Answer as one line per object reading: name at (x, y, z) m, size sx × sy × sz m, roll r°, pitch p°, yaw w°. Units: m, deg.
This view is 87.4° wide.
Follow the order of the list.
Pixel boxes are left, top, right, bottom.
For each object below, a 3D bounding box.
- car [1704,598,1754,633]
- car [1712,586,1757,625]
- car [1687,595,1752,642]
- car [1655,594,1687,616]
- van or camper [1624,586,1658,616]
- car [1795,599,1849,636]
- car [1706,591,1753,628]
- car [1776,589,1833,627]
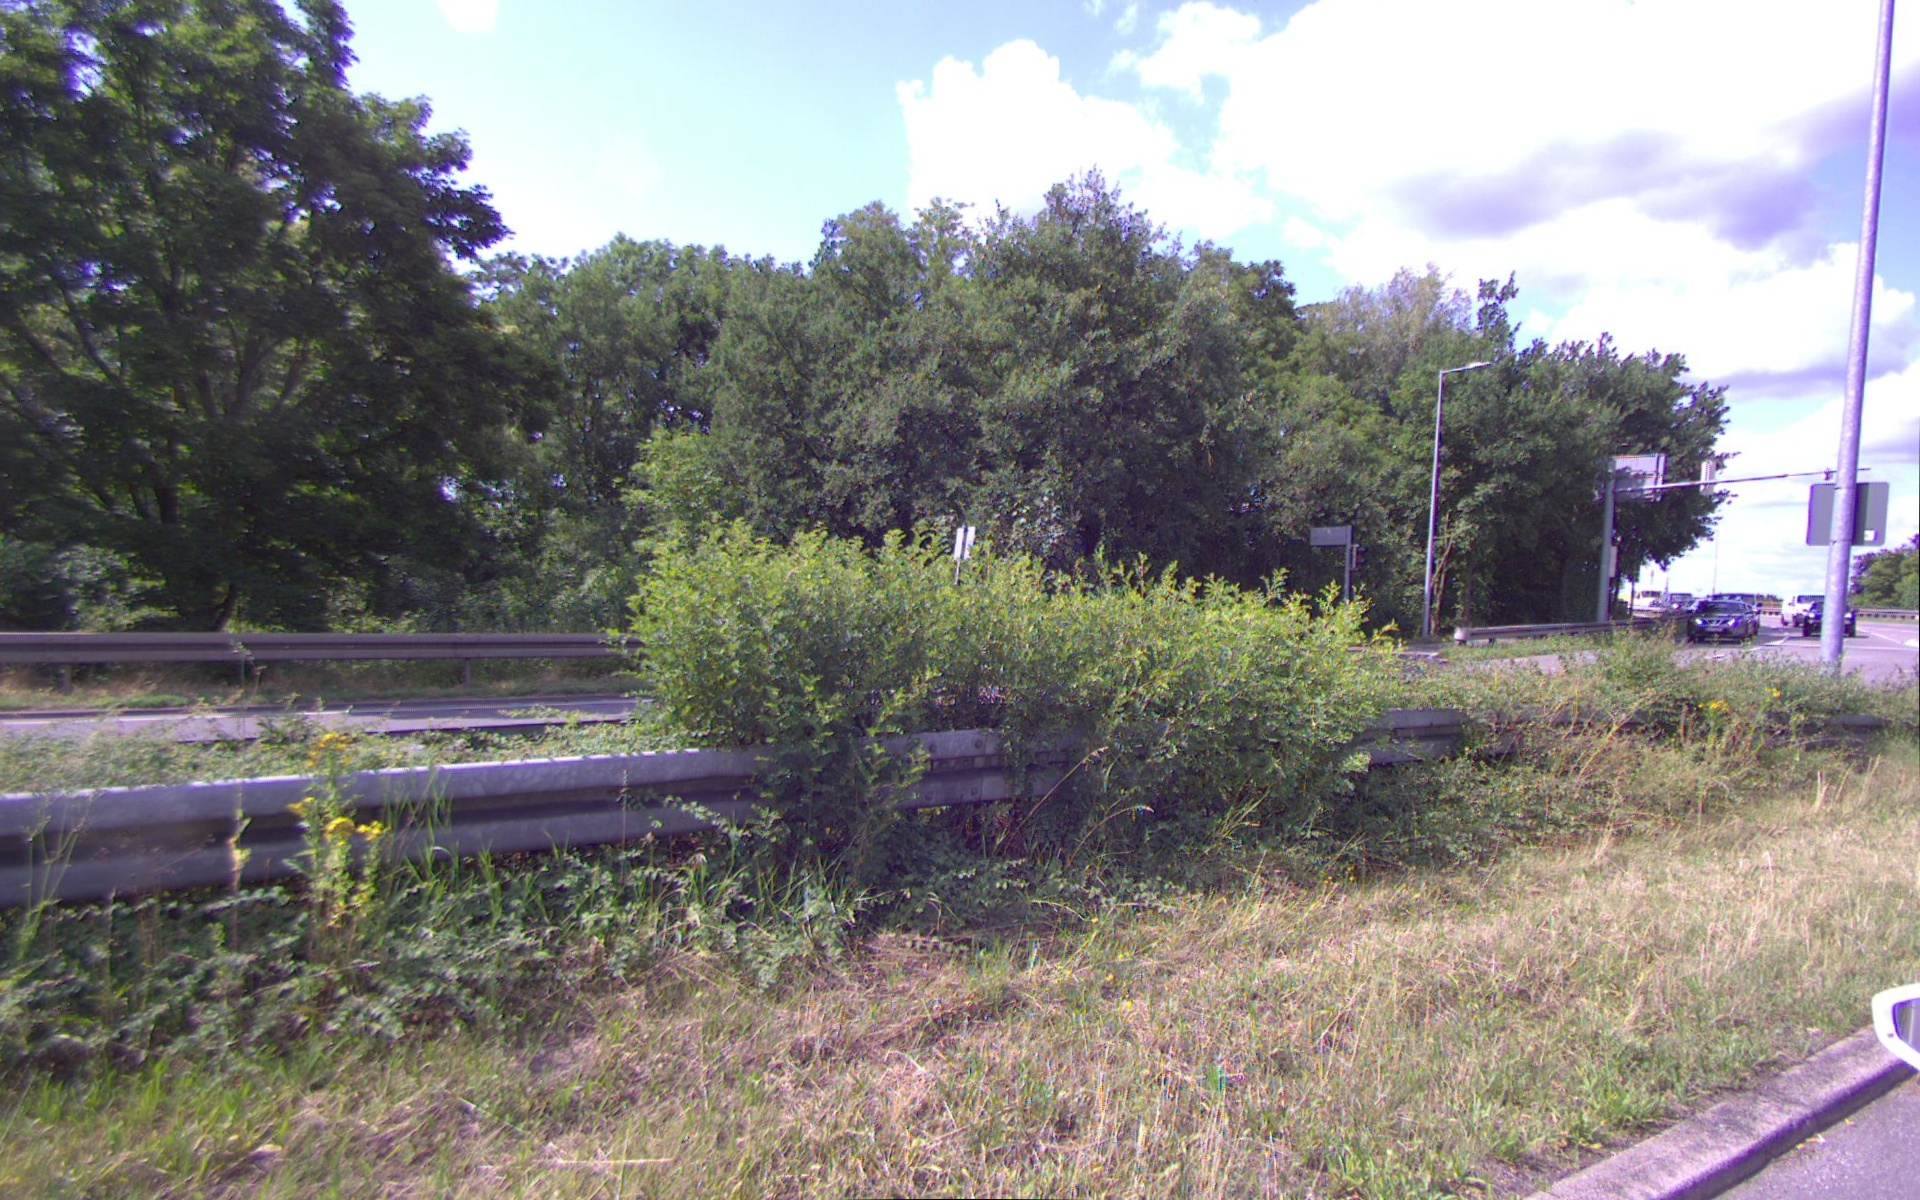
car at (35.235, 0.686, 45.989) m, size 1.710 × 1.496 × 4.029 m, roll 2°, pitch 1°, yaw 39°
car at (44.870, 0.336, 58.267) m, size 1.819 × 2.128 × 4.311 m, roll 2°, pitch 1°, yaw 36°
car at (29.067, 0.719, 38.394) m, size 1.816 × 1.639 × 3.982 m, roll 2°, pitch 0°, yaw 39°
car at (58.041, 0.402, 82.083) m, size 1.817 × 1.728 × 4.316 m, roll 2°, pitch 1°, yaw 32°
van or camper at (64.703, 0.061, 95.528) m, size 1.964 × 2.719 × 6.852 m, roll 2°, pitch 1°, yaw 28°
car at (38.319, 0.746, 44.677) m, size 1.711 × 1.516 × 4.026 m, roll 2°, pitch 1°, yaw 41°
car at (39.963, 0.486, 52.133) m, size 1.820 × 1.826 × 4.307 m, roll 2°, pitch 1°, yaw 39°
car at (48.902, 0.447, 58.226) m, size 1.966 × 2.041 × 4.457 m, roll 2°, pitch 1°, yaw 34°
